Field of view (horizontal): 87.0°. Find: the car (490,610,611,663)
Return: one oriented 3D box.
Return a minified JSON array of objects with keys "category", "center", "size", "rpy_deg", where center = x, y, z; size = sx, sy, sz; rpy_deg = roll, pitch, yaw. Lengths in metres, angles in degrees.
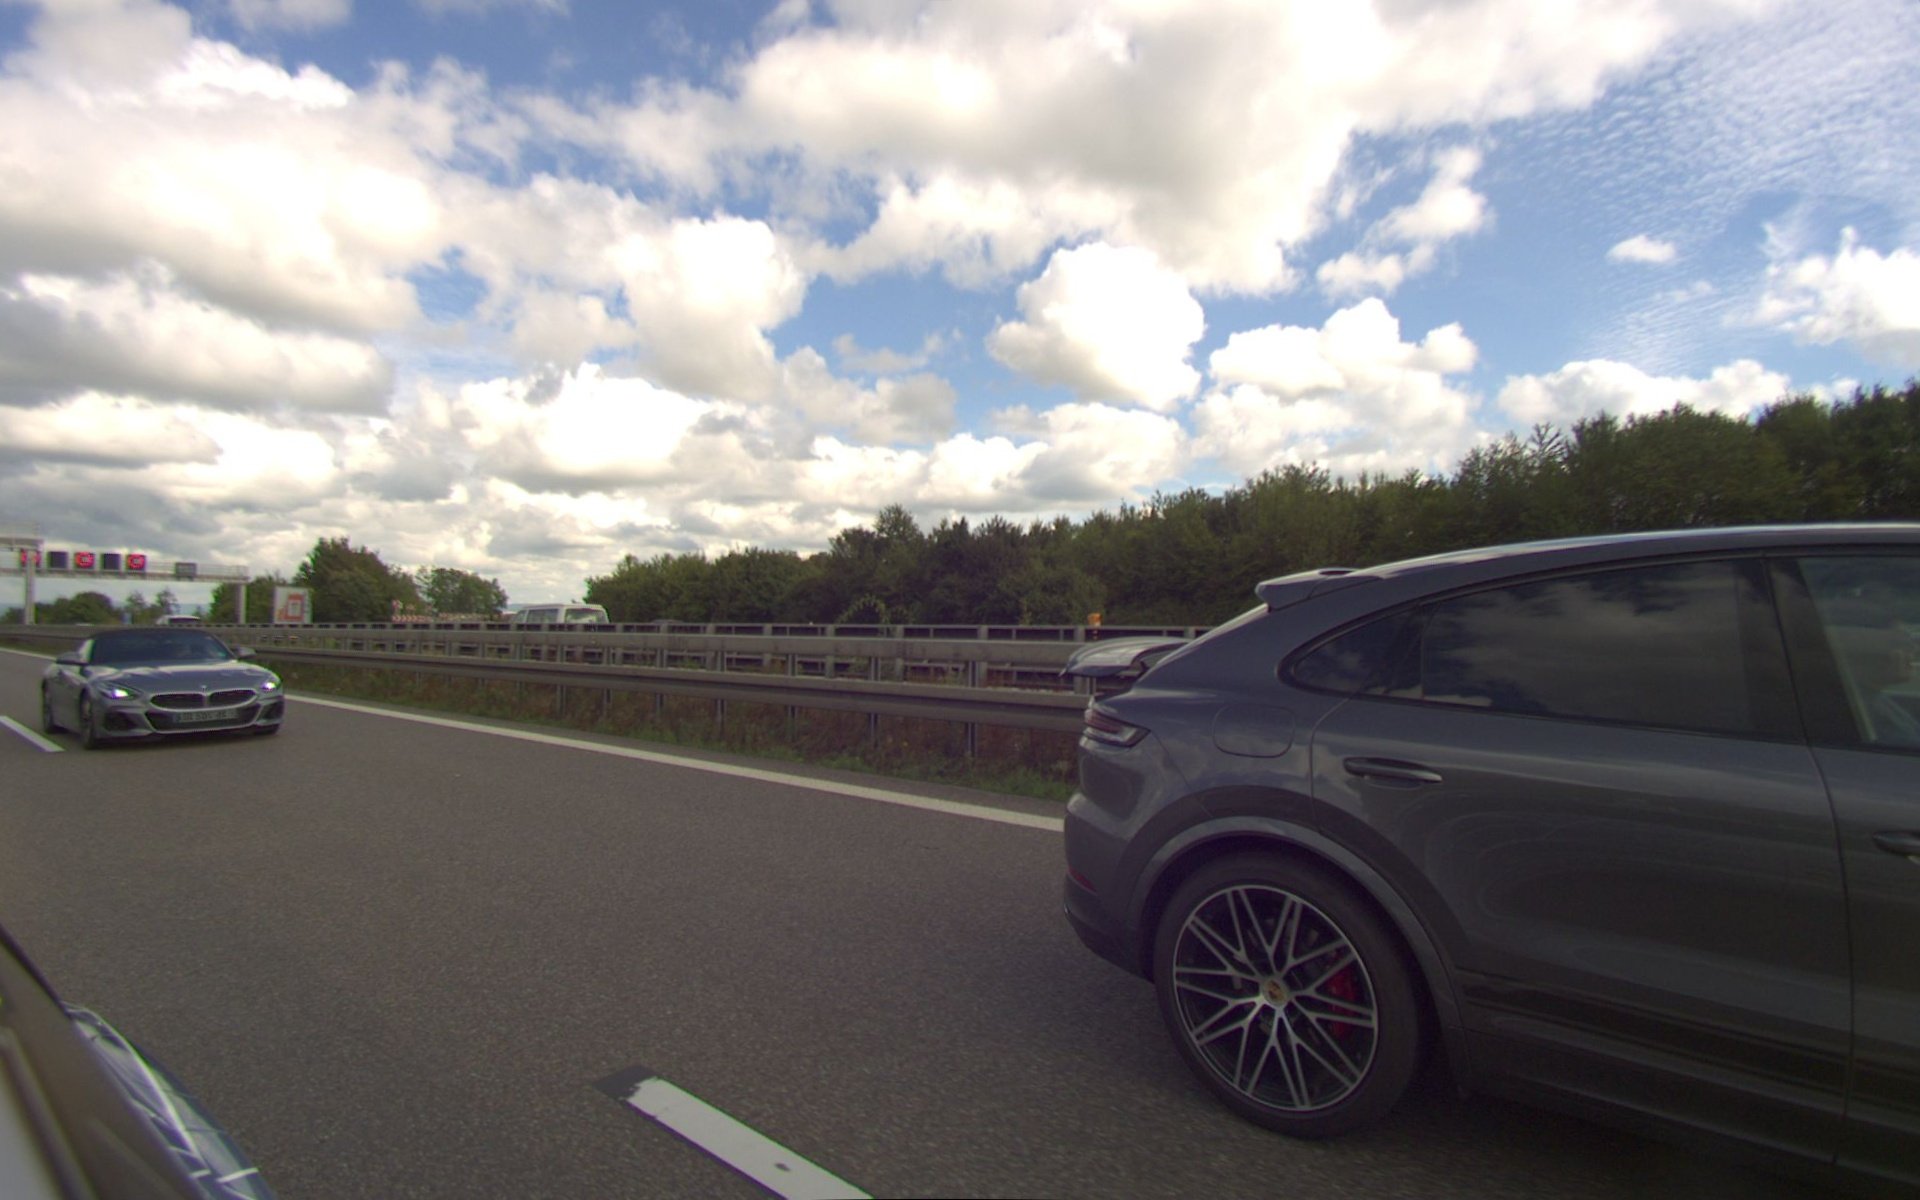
[{"category":"car","center":[-13.643,1.170,33.554],"size":[5.008,1.648,1.791],"rpy_deg":[-1,-1,43]}]

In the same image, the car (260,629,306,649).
[{"category":"car","center":[-44.481,2.523,66.482],"size":[3.873,1.229,1.509],"rpy_deg":[-1,-1,41]}]

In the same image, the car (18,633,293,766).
[{"category":"car","center":[-10.243,1.097,12.727],"size":[4.940,1.312,1.854],"rpy_deg":[-1,-1,41]}]

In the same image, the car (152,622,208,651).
[{"category":"car","center":[-41.790,1.925,54.170],"size":[4.200,1.491,1.716],"rpy_deg":[-1,-1,43]}]

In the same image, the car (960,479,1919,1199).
[{"category":"car","center":[2.685,0.599,2.378],"size":[5.497,1.648,1.892],"rpy_deg":[-1,-1,41]}]

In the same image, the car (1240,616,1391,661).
[{"category":"car","center":[13.164,1.403,37.640],"size":[5.009,1.589,1.752],"rpy_deg":[-1,-2,41]}]

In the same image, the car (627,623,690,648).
[{"category":"car","center":[-20.207,2.373,67.774],"size":[5.008,1.648,1.791],"rpy_deg":[-2,-2,43]}]
